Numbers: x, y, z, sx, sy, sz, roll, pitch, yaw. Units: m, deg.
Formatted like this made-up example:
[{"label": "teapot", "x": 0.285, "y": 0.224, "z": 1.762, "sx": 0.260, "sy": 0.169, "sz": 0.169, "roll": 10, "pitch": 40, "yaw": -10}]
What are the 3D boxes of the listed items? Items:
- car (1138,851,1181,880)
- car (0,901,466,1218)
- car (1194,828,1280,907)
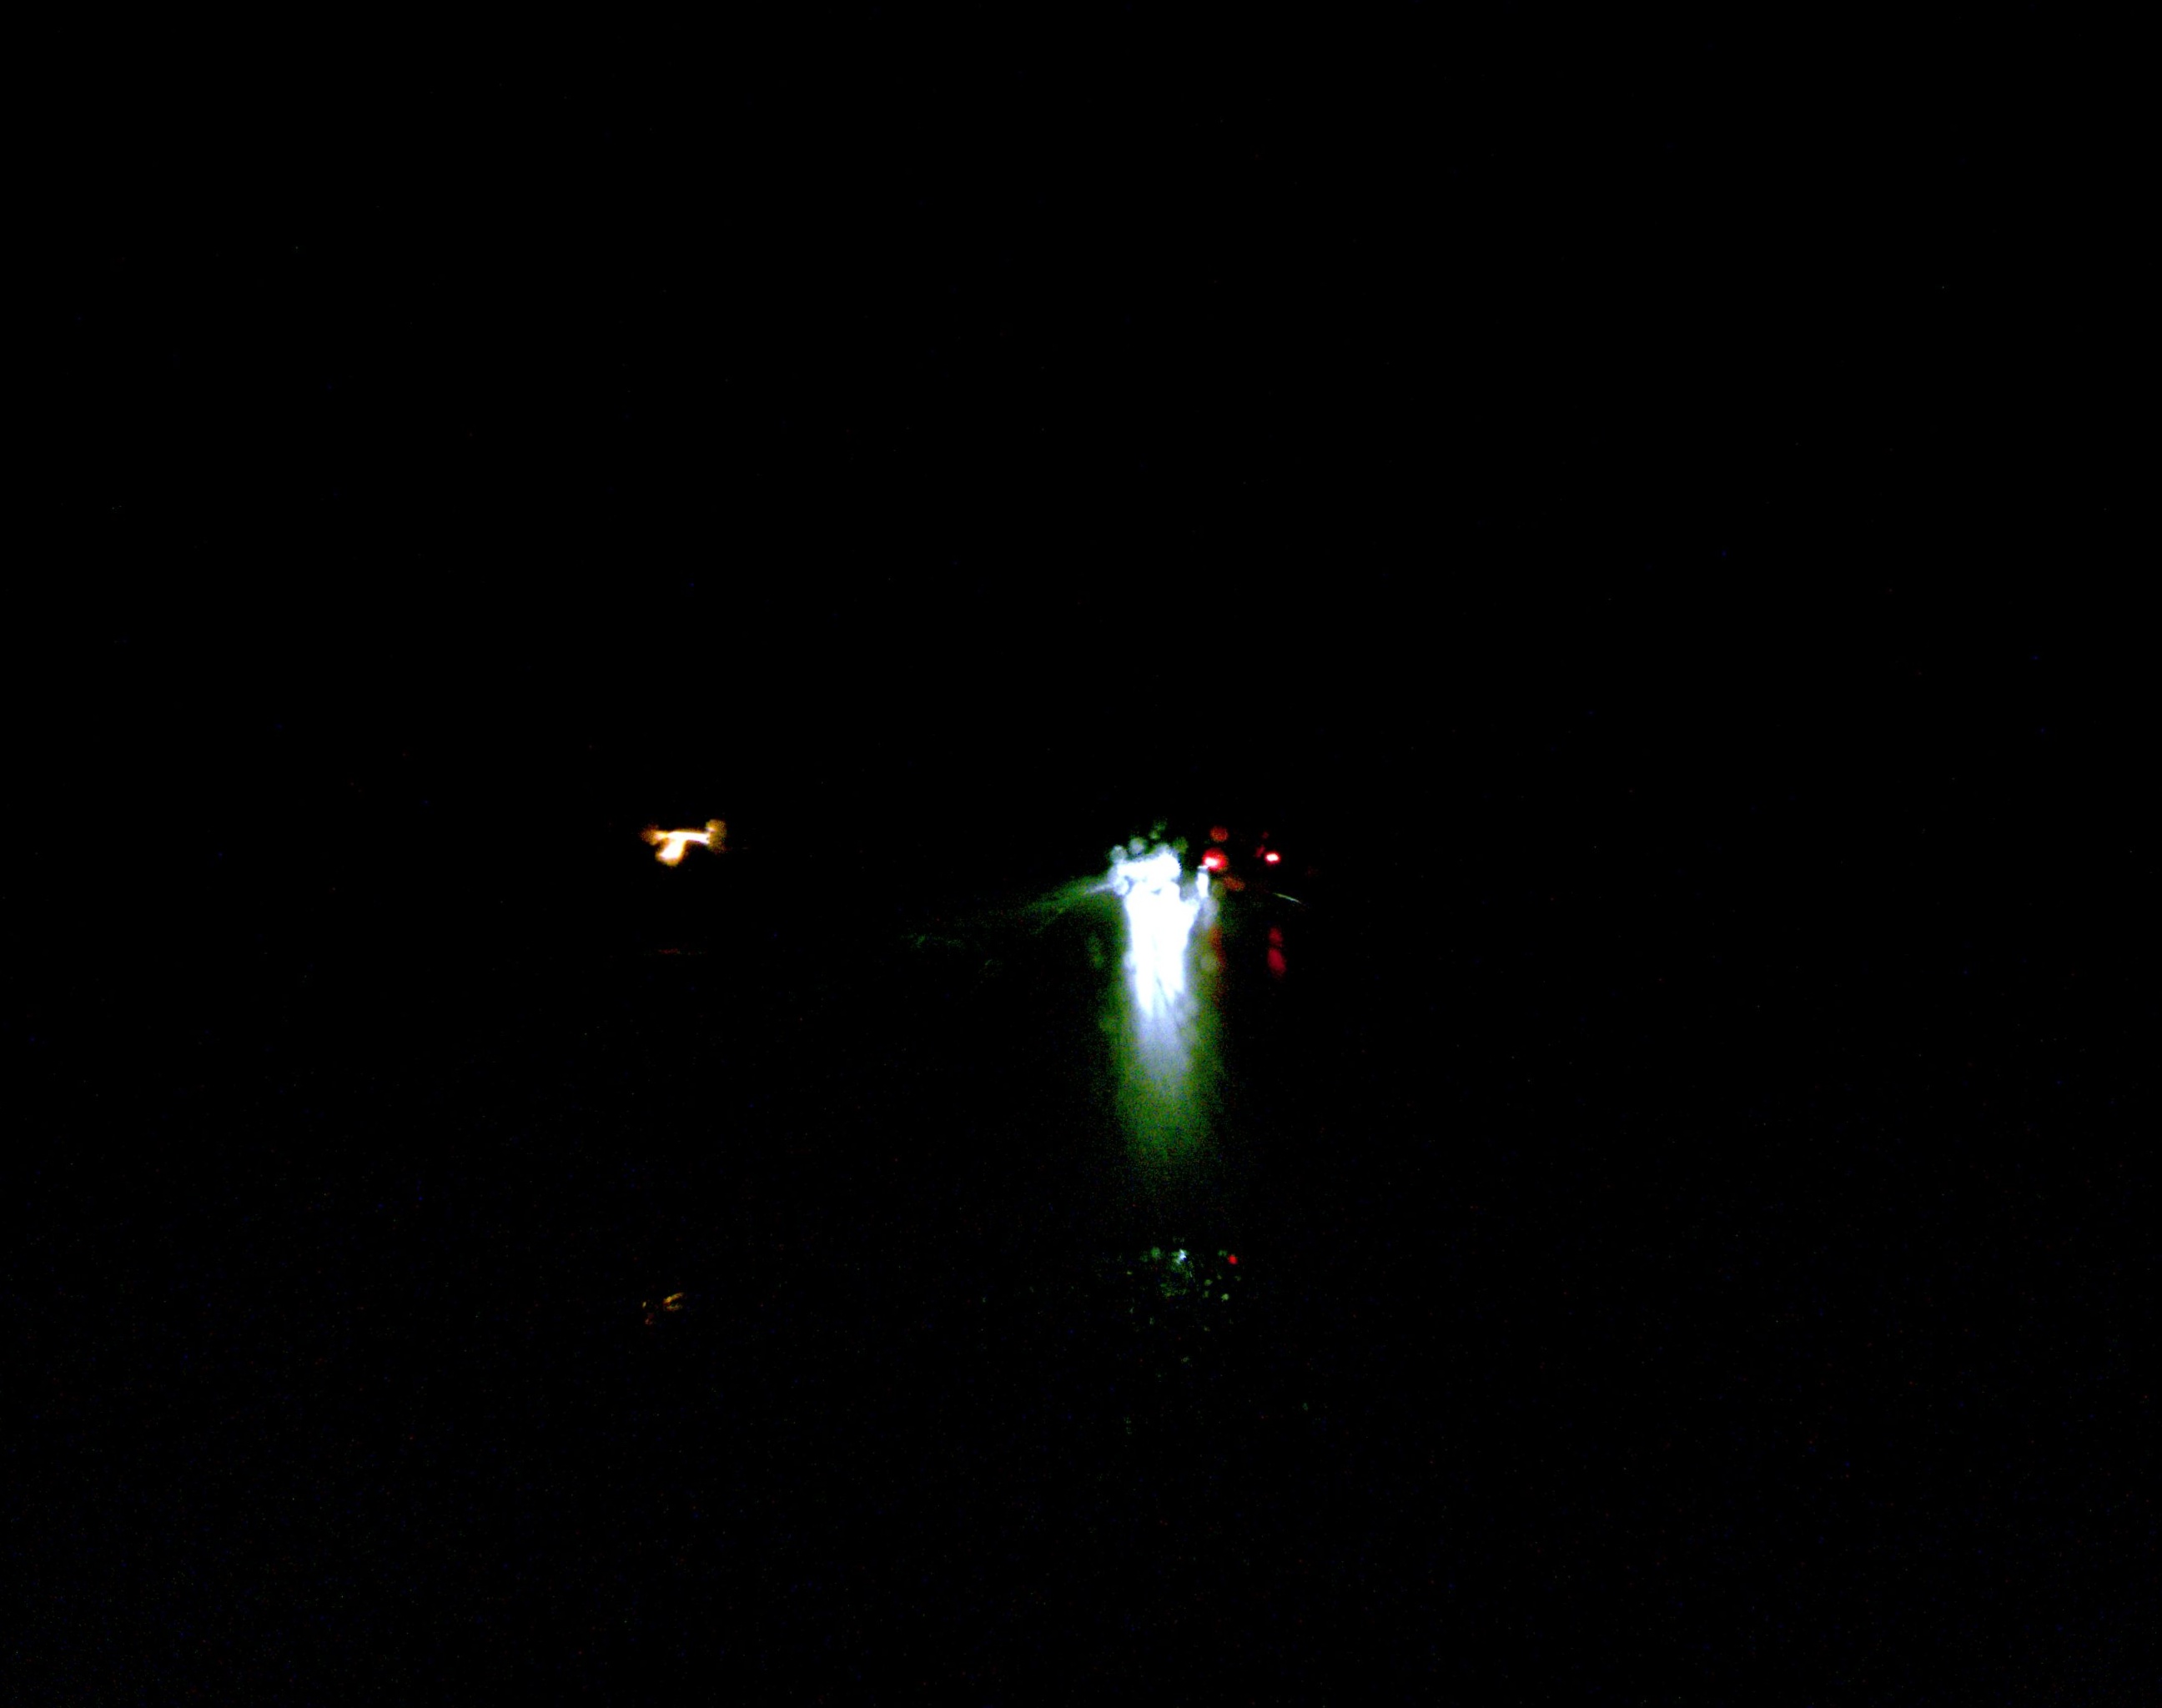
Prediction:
[{"label": "car", "x": 4.665, "y": 0.630, "z": 44.653, "sx": 1.997, "sy": 1.412, "sz": 4.003, "roll": -4, "pitch": 0, "yaw": 11}, {"label": "car", "x": -8.137, "y": 1.523, "z": 6.838, "sx": 1.883, "sy": 1.799, "sz": 4.154, "roll": -4, "pitch": 0, "yaw": -4}, {"label": "car", "x": 4.710, "y": 0.346, "z": 23.571, "sx": 1.922, "sy": 2.045, "sz": 4.889, "roll": -4, "pitch": 0, "yaw": 5}]
